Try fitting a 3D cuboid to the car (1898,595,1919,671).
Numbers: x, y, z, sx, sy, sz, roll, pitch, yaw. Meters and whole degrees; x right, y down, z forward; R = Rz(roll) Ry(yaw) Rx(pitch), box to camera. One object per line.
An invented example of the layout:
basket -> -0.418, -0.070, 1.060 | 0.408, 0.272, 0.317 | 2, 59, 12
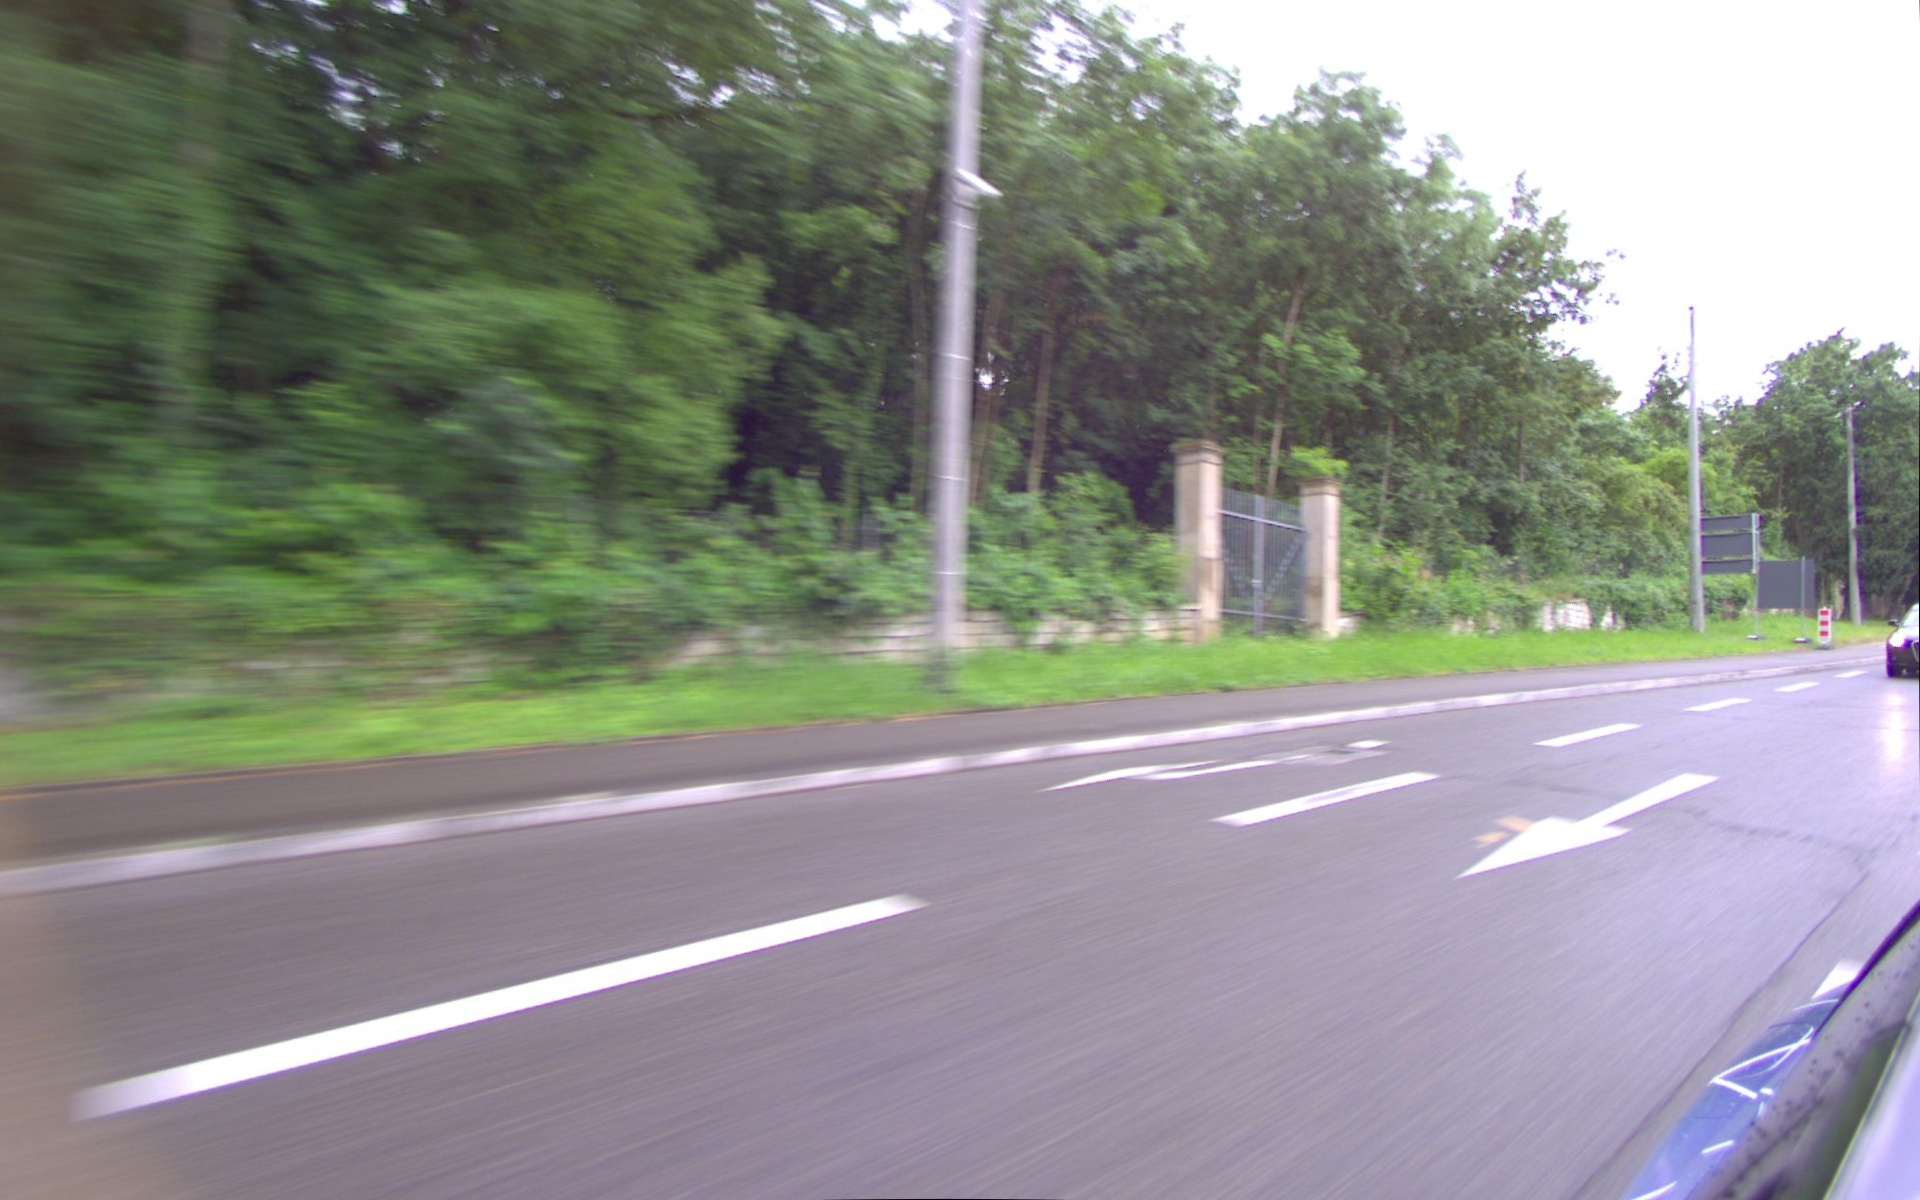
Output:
car -> 21.980, 0.691, 21.988 | 3.929, 1.608, 1.855 | 0, 0, -40
